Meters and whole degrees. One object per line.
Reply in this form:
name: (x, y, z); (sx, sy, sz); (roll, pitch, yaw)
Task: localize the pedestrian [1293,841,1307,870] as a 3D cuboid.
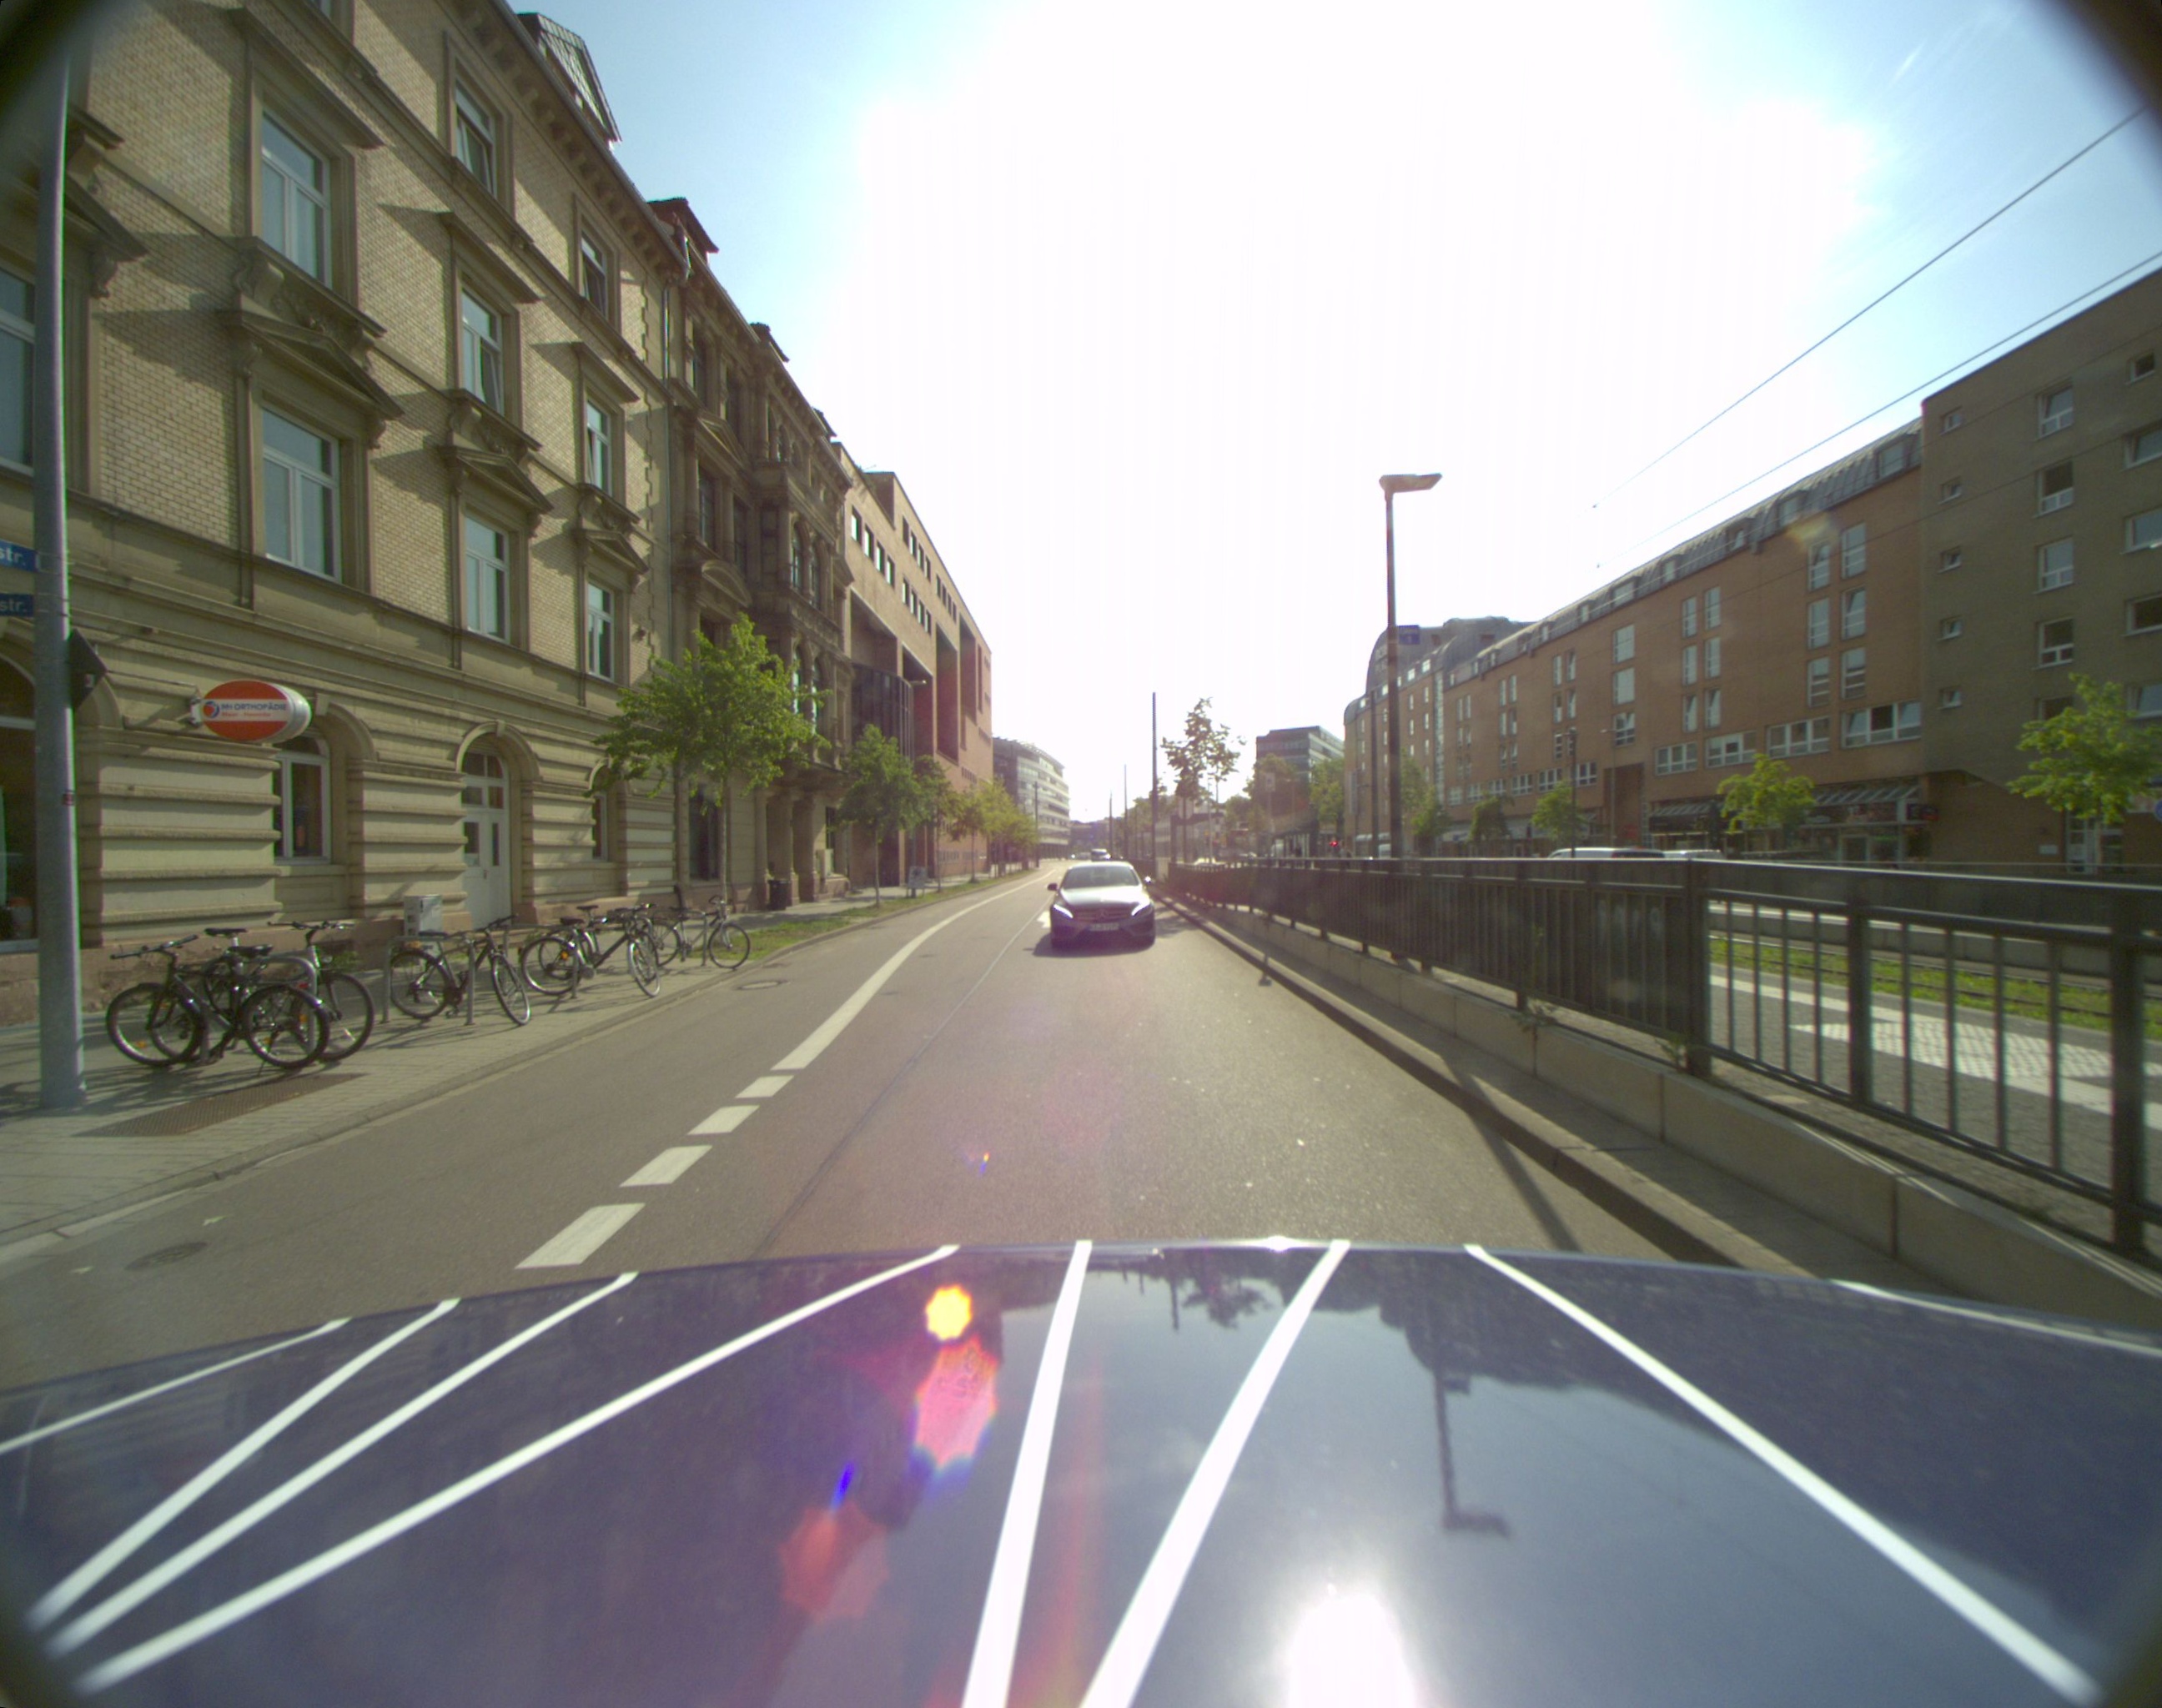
pedestrian: (14.595, 0.088, 50.711); (0.806, 1.875, 0.555); (-1, 1, 5)

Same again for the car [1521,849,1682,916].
car: (17.116, 0.861, 25.372); (1.998, 2.002, 4.931); (0, 0, 0)

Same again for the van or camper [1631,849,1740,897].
van or camper: (27.027, 0.813, 34.139); (1.997, 2.002, 4.002); (0, 0, 6)

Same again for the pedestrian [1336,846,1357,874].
pedestrian: (14.759, 0.331, 42.221); (0.679, 1.522, 0.810); (-1, 1, -30)

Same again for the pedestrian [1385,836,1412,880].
pedestrian: (13.689, 0.156, 32.769); (0.741, 1.861, 0.939); (-1, 1, 1)

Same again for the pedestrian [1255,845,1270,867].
pedestrian: (14.576, 0.170, 60.912); (0.786, 1.736, 0.833); (0, 1, -35)

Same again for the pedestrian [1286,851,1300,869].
pedestrian: (15.185, 0.426, 54.458); (0.793, 1.238, 0.675); (0, 1, 0)

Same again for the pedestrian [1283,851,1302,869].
pedestrian: (14.959, 0.434, 53.725); (1.156, 1.238, 0.675); (0, 1, 0)

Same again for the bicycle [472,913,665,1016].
bicycle: (-6.016, 1.285, 9.034); (1.763, 1.081, 0.671); (2, 1, -21)

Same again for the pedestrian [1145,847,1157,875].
pedestrian: (4.558, 0.447, 49.527); (0.675, 1.747, 0.727); (-3, 1, 0)

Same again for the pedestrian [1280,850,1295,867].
pedestrian: (15.303, 0.331, 56.386); (0.871, 1.306, 0.808); (0, 1, -2)

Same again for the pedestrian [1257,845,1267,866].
pedestrian: (15.824, 0.144, 66.571); (0.652, 1.750, 0.698); (-3, 1, 2)

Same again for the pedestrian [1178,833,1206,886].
pedestrian: (4.333, 0.213, 29.703); (0.835, 2.002, 1.028); (-3, 1, -2)

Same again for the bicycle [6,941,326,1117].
bicycle: (-6.653, 1.241, 5.564); (1.756, 1.081, 0.583); (1, 1, 4)

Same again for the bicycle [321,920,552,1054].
bicycle: (-6.248, 1.262, 7.410); (1.758, 1.081, 0.669); (2, 1, 6)

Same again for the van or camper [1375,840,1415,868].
van or camper: (32.231, -0.005, 78.090); (1.998, 2.786, 5.353); (0, 0, 1)

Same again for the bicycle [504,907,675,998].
bicycle: (-6.487, 1.299, 10.108); (1.761, 1.081, 0.657); (2, 1, -8)

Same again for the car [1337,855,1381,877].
car: (23.572, 0.978, 64.512); (1.999, 1.795, 4.631); (0, 0, -1)

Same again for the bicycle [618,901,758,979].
bicycle: (-5.994, 1.318, 11.665); (1.761, 1.081, 0.610); (2, 1, -8)

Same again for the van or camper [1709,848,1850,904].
van or camper: (26.360, 0.780, 28.889); (1.934, 1.956, 4.001); (-1, 0, 6)

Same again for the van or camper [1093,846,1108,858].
van or camper: (3.580, -0.302, 139.530); (1.936, 2.198, 3.981); (0, 0, -13)

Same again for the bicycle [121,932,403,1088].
bicycle: (-6.605, 1.227, 6.167); (1.756, 1.081, 0.583); (1, 1, 4)

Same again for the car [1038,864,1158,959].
car: (0.310, 0.959, 14.413); (1.907, 1.384, 4.236); (-2, 1, 1)
